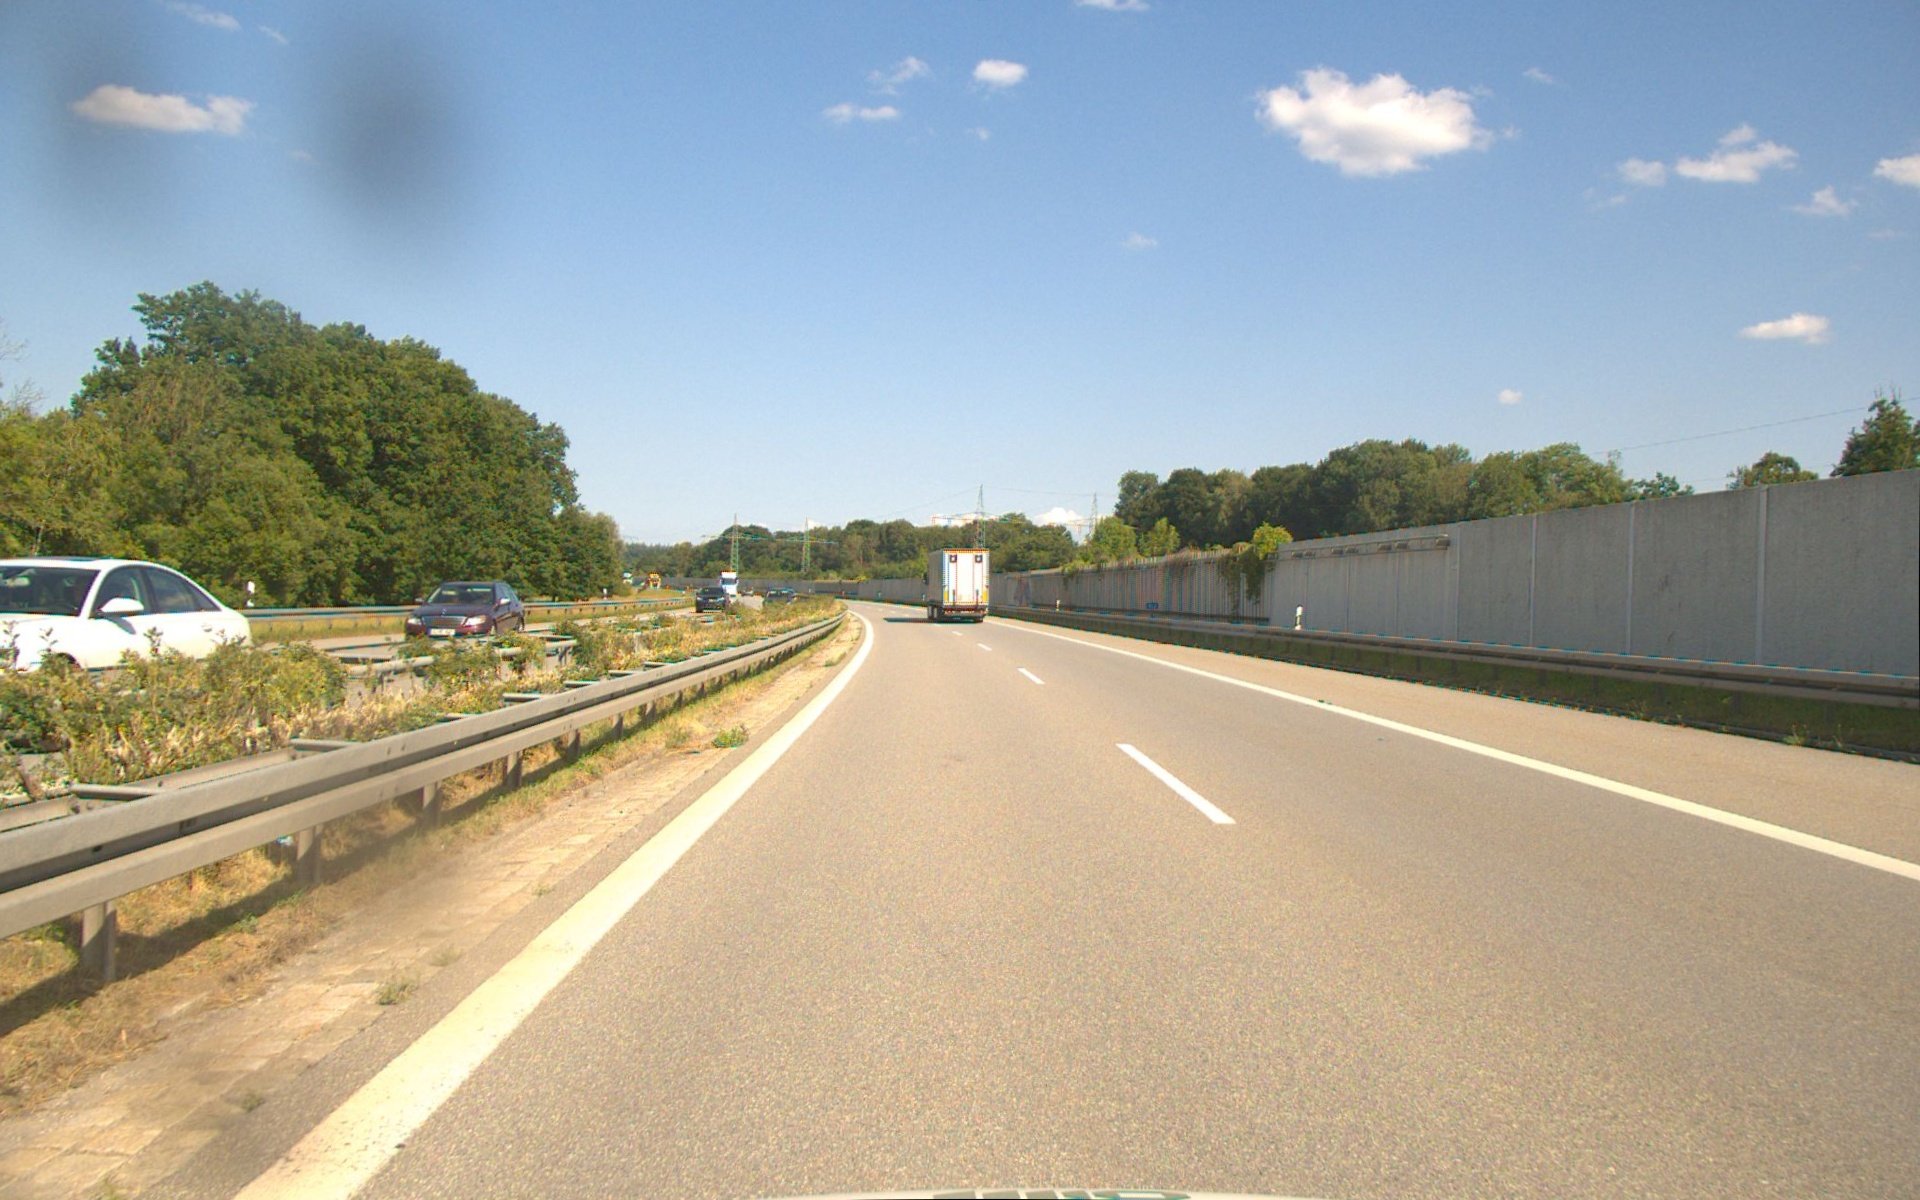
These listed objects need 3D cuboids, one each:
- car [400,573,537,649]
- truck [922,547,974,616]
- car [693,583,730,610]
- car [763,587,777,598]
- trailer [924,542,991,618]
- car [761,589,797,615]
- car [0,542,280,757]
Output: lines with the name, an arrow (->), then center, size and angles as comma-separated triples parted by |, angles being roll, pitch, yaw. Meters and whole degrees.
car -> -10.421, 0.210, 35.379 | 1.737, 1.495, 4.504 | 1, 0, -3
truck -> -0.791, -1.121, 102.426 | 2.775, 4.082, 6.580 | 0, 0, -5
car -> -15.395, -0.223, 102.666 | 1.816, 1.663, 4.491 | 0, 0, -2
car -> -24.404, -0.966, 212.203 | 1.629, 1.475, 4.238 | -1, 1, -9
trailer -> -0.286, -1.093, 95.976 | 2.828, 4.137, 12.407 | 0, 0, -5
car -> -10.464, 0.100, 95.721 | 1.816, 1.508, 3.998 | 0, 0, -2
car -> -7.354, 0.307, 13.535 | 1.784, 1.459, 4.648 | 1, 0, -2
